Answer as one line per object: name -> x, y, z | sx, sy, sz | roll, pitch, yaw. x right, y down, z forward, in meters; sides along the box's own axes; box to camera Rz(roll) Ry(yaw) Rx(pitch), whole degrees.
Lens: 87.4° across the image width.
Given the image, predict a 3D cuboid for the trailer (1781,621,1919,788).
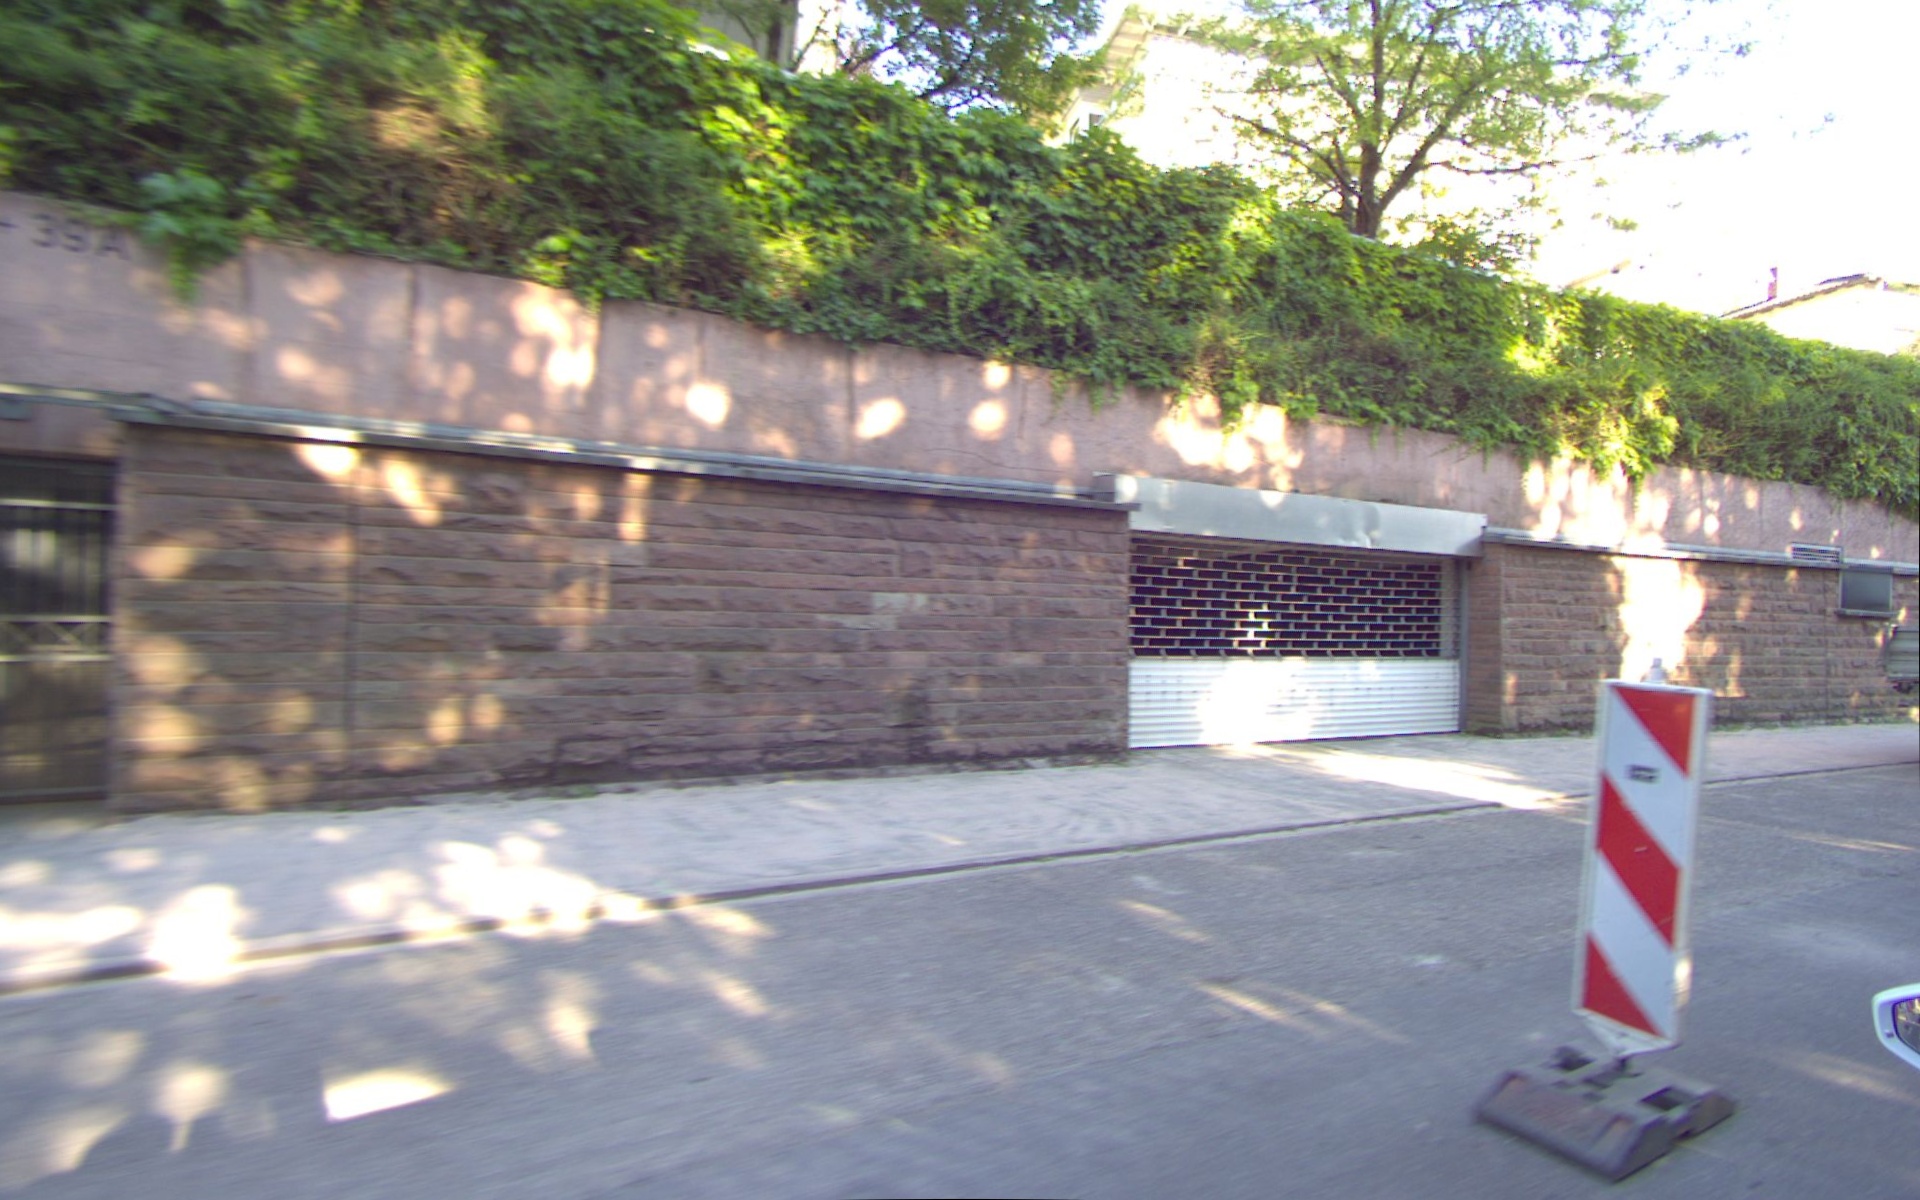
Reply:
trailer -> 12.148, 1.087, 10.660 | 7.024, 1.509, 2.631 | 2, 0, -26
